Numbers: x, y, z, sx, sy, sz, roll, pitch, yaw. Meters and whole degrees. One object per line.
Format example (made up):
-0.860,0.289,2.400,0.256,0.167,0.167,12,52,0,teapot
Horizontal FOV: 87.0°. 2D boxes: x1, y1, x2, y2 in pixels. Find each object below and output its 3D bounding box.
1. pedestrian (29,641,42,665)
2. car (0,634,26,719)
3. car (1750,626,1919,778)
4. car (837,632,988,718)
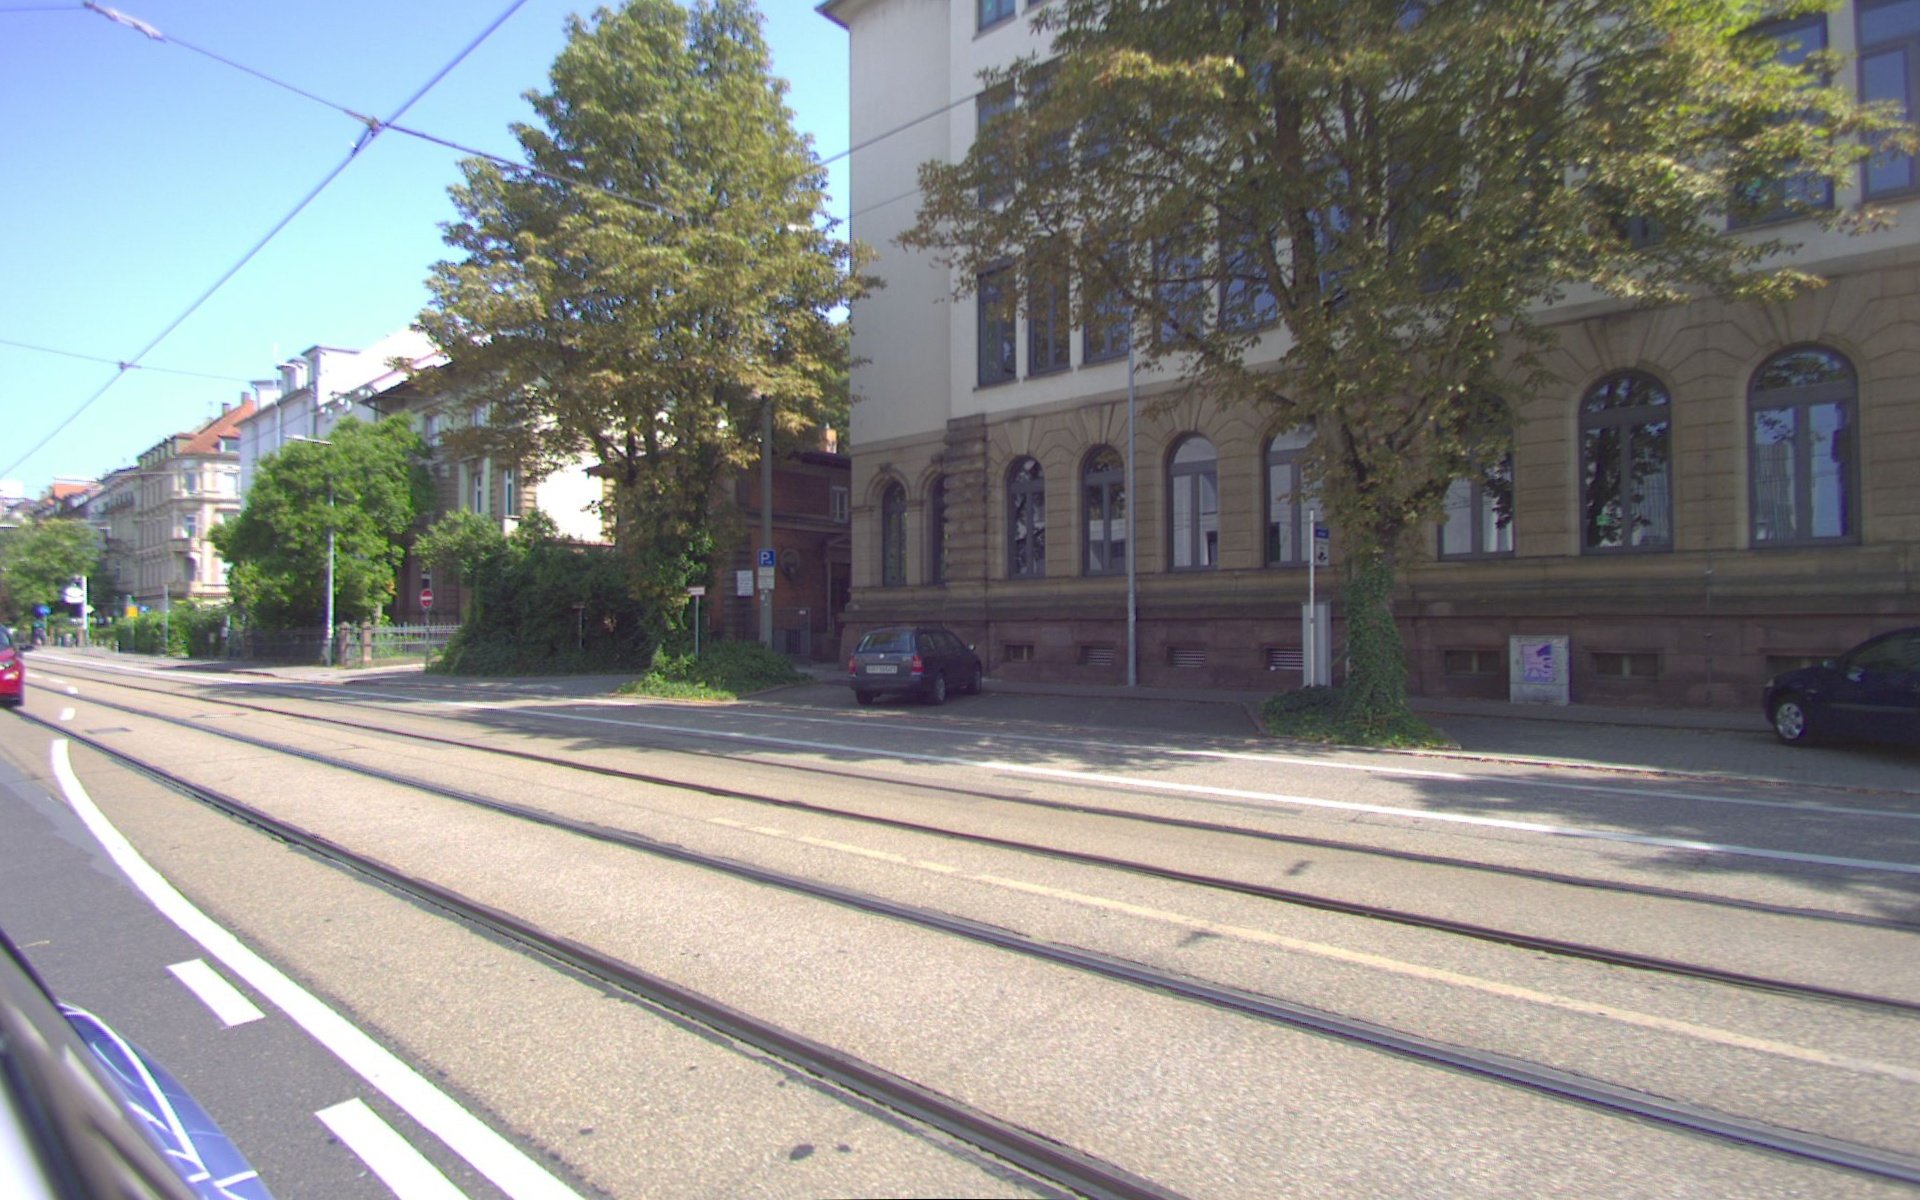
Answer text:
-77.302,4.424,84.636,0.973,2.029,0.649,-3,-3,40,pedestrian
-19.551,1.476,19.636,4.021,1.563,1.791,-3,-3,43,car
10.483,1.019,10.259,1.797,1.507,4.158,-1,-2,4,car
-0.815,1.419,20.249,1.804,1.473,4.408,-1,-2,14,car
